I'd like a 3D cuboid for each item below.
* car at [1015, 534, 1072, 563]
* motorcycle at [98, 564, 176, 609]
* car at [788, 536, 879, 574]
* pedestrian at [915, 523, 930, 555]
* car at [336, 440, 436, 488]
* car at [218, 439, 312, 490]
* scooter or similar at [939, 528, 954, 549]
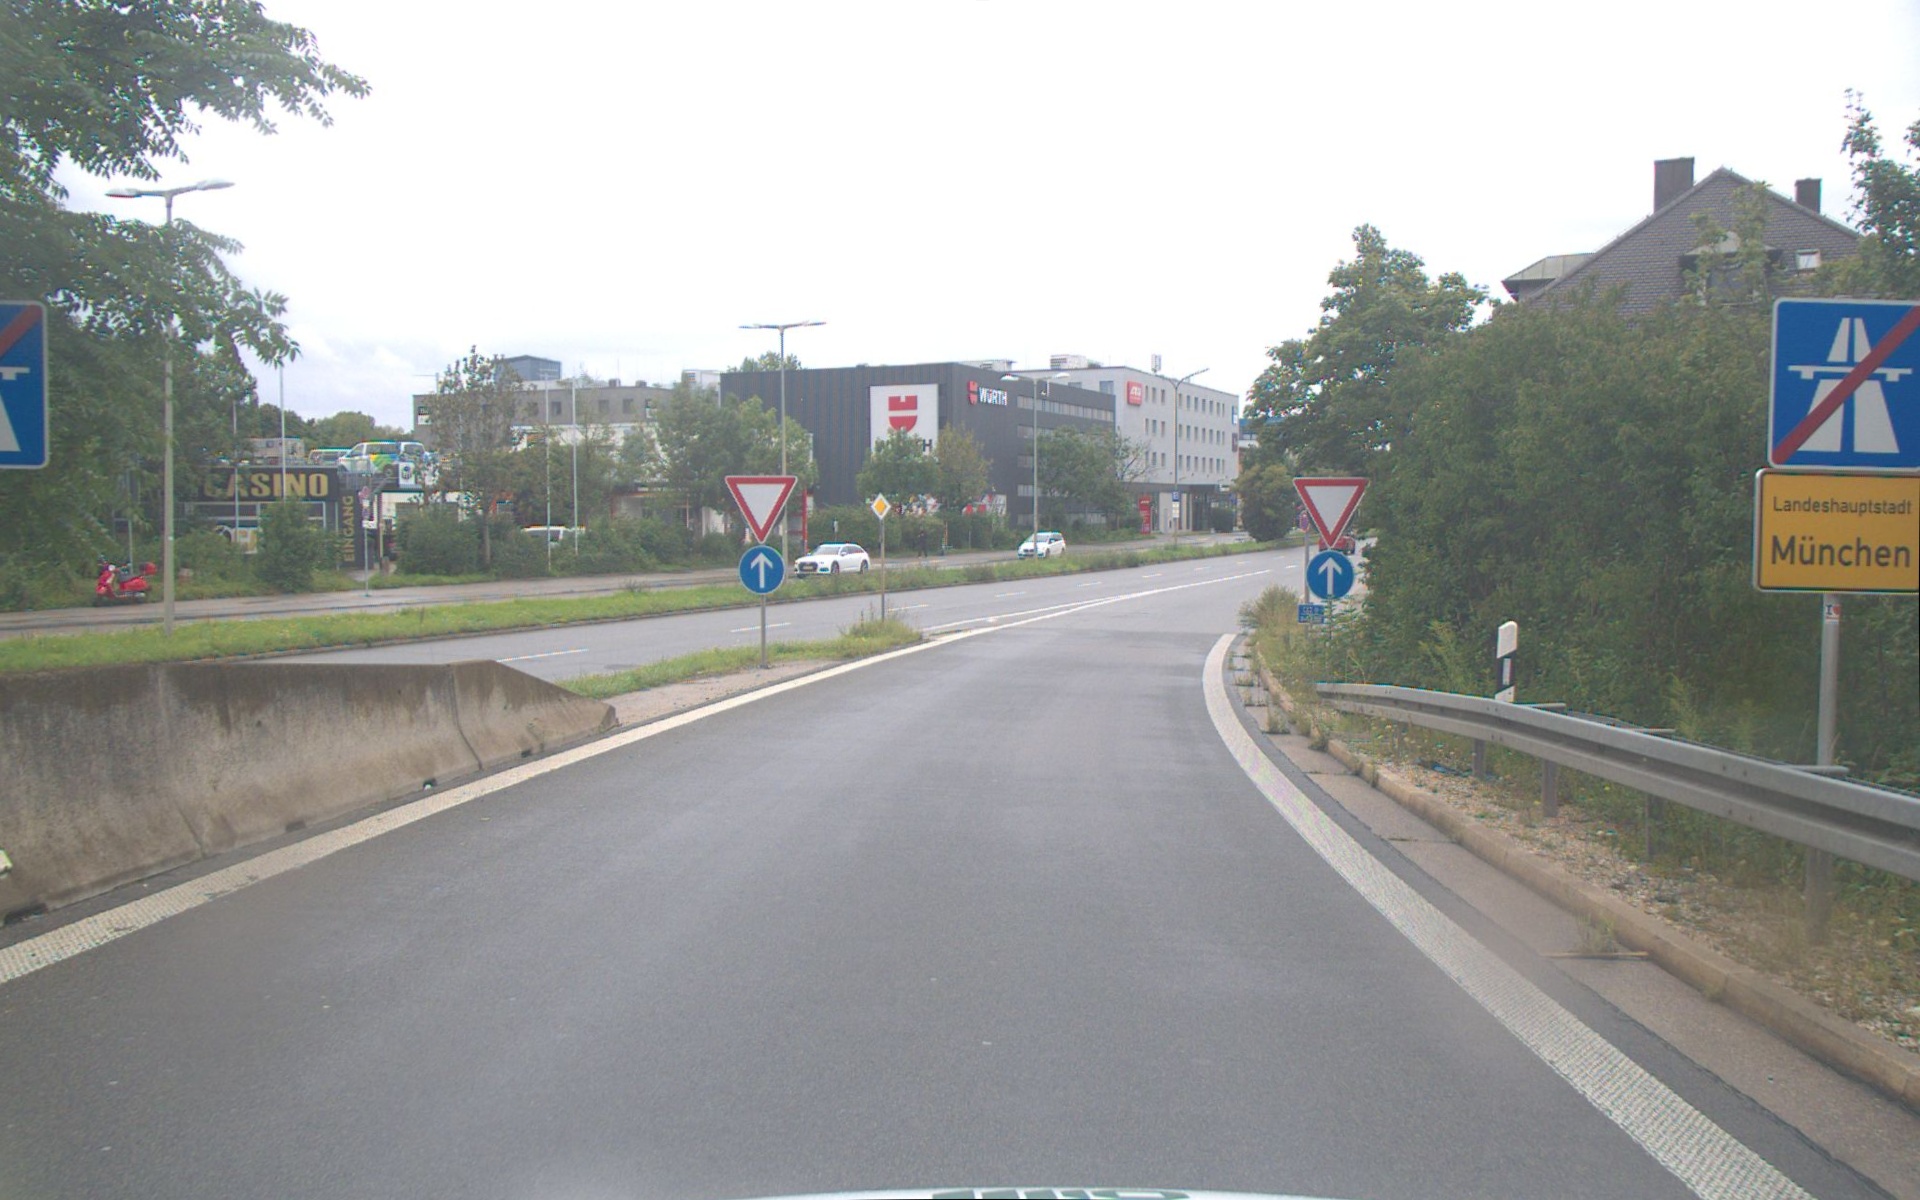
[{"bbox_3d":[5.077,-3.131,100.043,1.953,1.599,4.574,0,3,23],"label":"car"},{"bbox_3d":[-23.898,-0.405,48.061,0.522,1.196,2.196,0,3,22],"label":"motorcycle"},{"bbox_3d":[-5.714,-2.069,75.371,1.953,1.599,5.119,0,3,23],"label":"car"},{"bbox_3d":[-2.216,-3.595,97.990,0.610,1.861,0.817,0,4,23],"label":"pedestrian"},{"bbox_3d":[-29.879,-7.058,86.134,4.686,2.049,2.134,-2,0,24],"label":"car"},{"bbox_3d":[-38.527,-7.489,91.649,4.686,2.411,2.134,-2,0,24],"label":"car"},{"bbox_3d":[-0.832,-3.824,102.161,0.436,1.248,1.388,1,4,21],"label":"scooter or similar"}]
